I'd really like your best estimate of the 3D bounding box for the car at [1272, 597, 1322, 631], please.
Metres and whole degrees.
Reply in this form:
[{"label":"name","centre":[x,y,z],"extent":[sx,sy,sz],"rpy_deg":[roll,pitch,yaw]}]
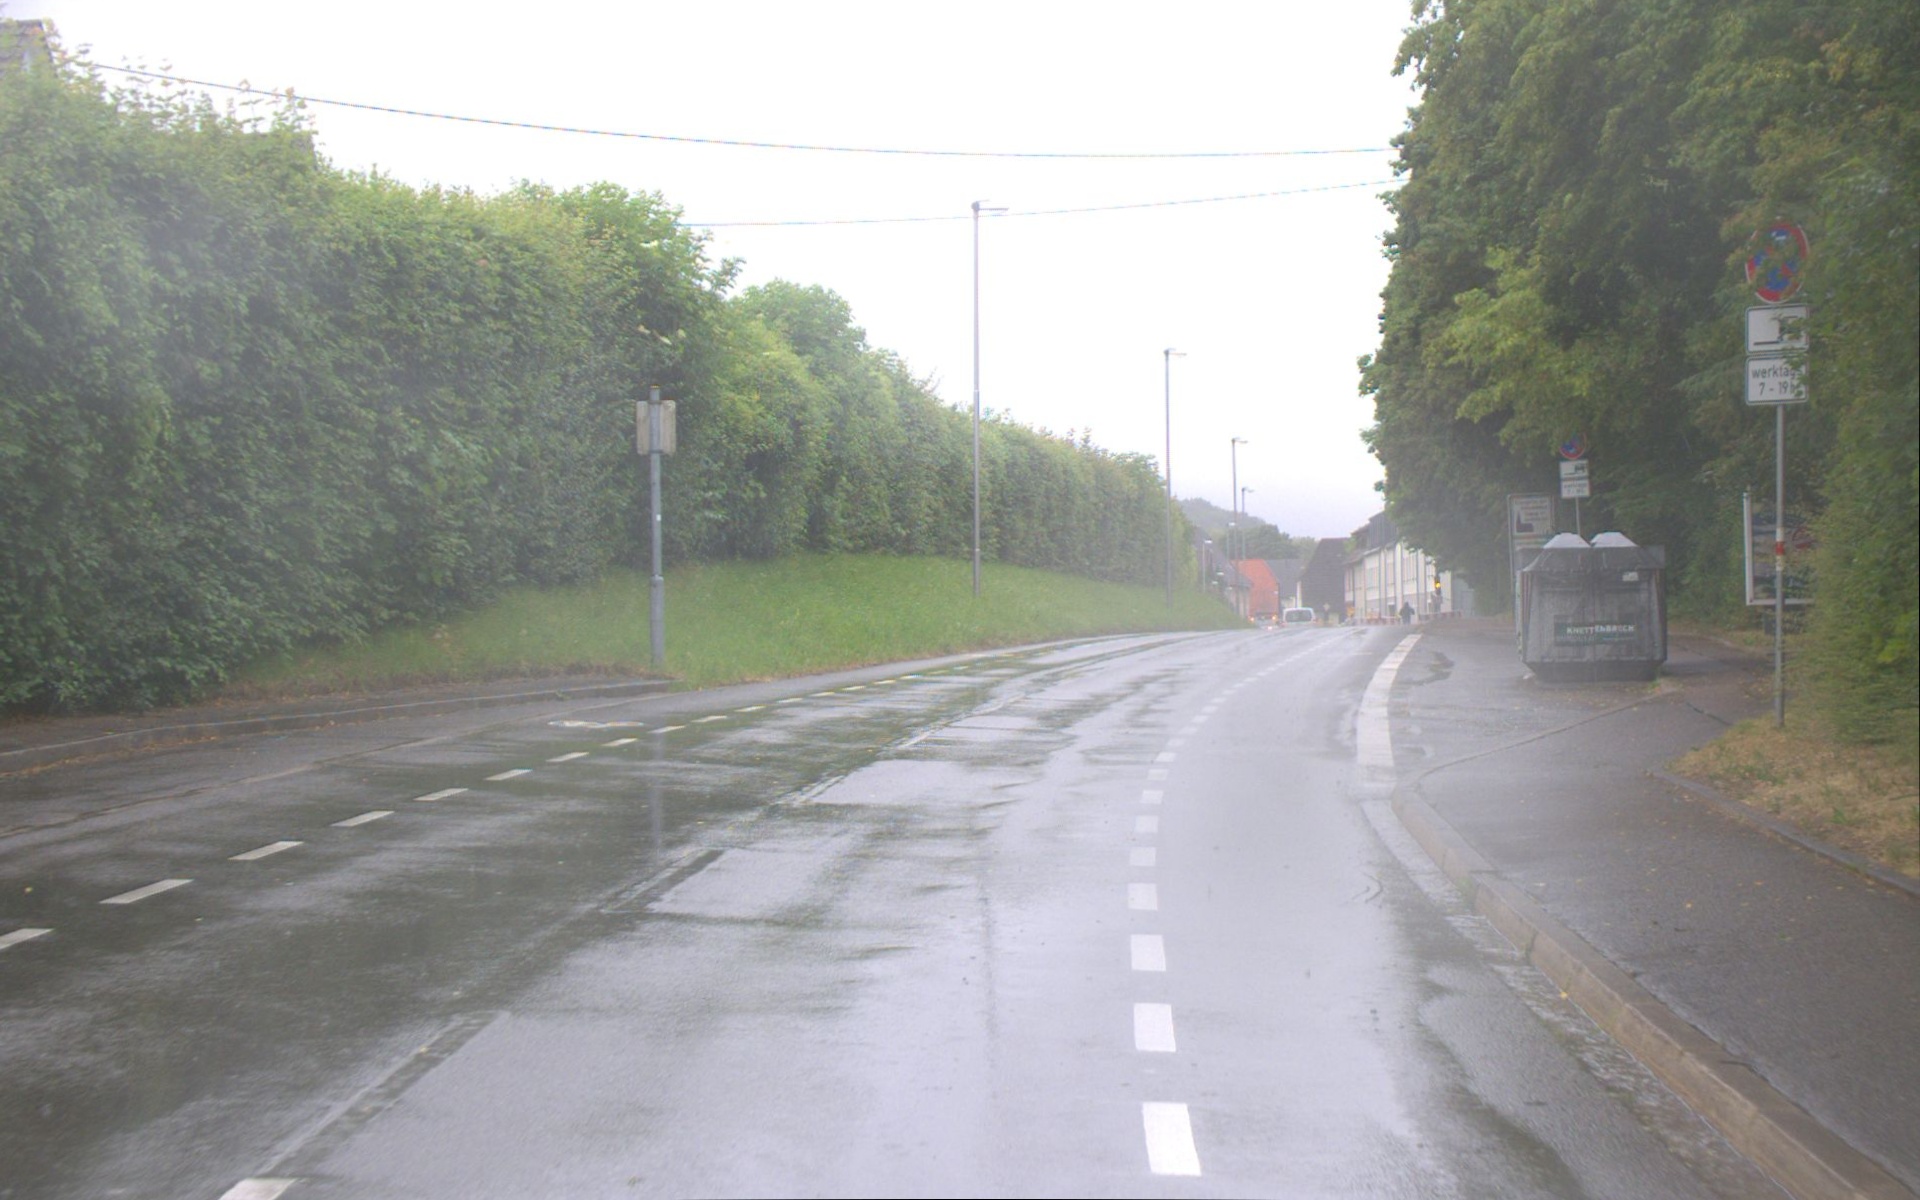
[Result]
[{"label":"car","centre":[16.640,0.688,169.874],"extent":[1.993,1.605,4.000],"rpy_deg":[1,1,-1]}]
